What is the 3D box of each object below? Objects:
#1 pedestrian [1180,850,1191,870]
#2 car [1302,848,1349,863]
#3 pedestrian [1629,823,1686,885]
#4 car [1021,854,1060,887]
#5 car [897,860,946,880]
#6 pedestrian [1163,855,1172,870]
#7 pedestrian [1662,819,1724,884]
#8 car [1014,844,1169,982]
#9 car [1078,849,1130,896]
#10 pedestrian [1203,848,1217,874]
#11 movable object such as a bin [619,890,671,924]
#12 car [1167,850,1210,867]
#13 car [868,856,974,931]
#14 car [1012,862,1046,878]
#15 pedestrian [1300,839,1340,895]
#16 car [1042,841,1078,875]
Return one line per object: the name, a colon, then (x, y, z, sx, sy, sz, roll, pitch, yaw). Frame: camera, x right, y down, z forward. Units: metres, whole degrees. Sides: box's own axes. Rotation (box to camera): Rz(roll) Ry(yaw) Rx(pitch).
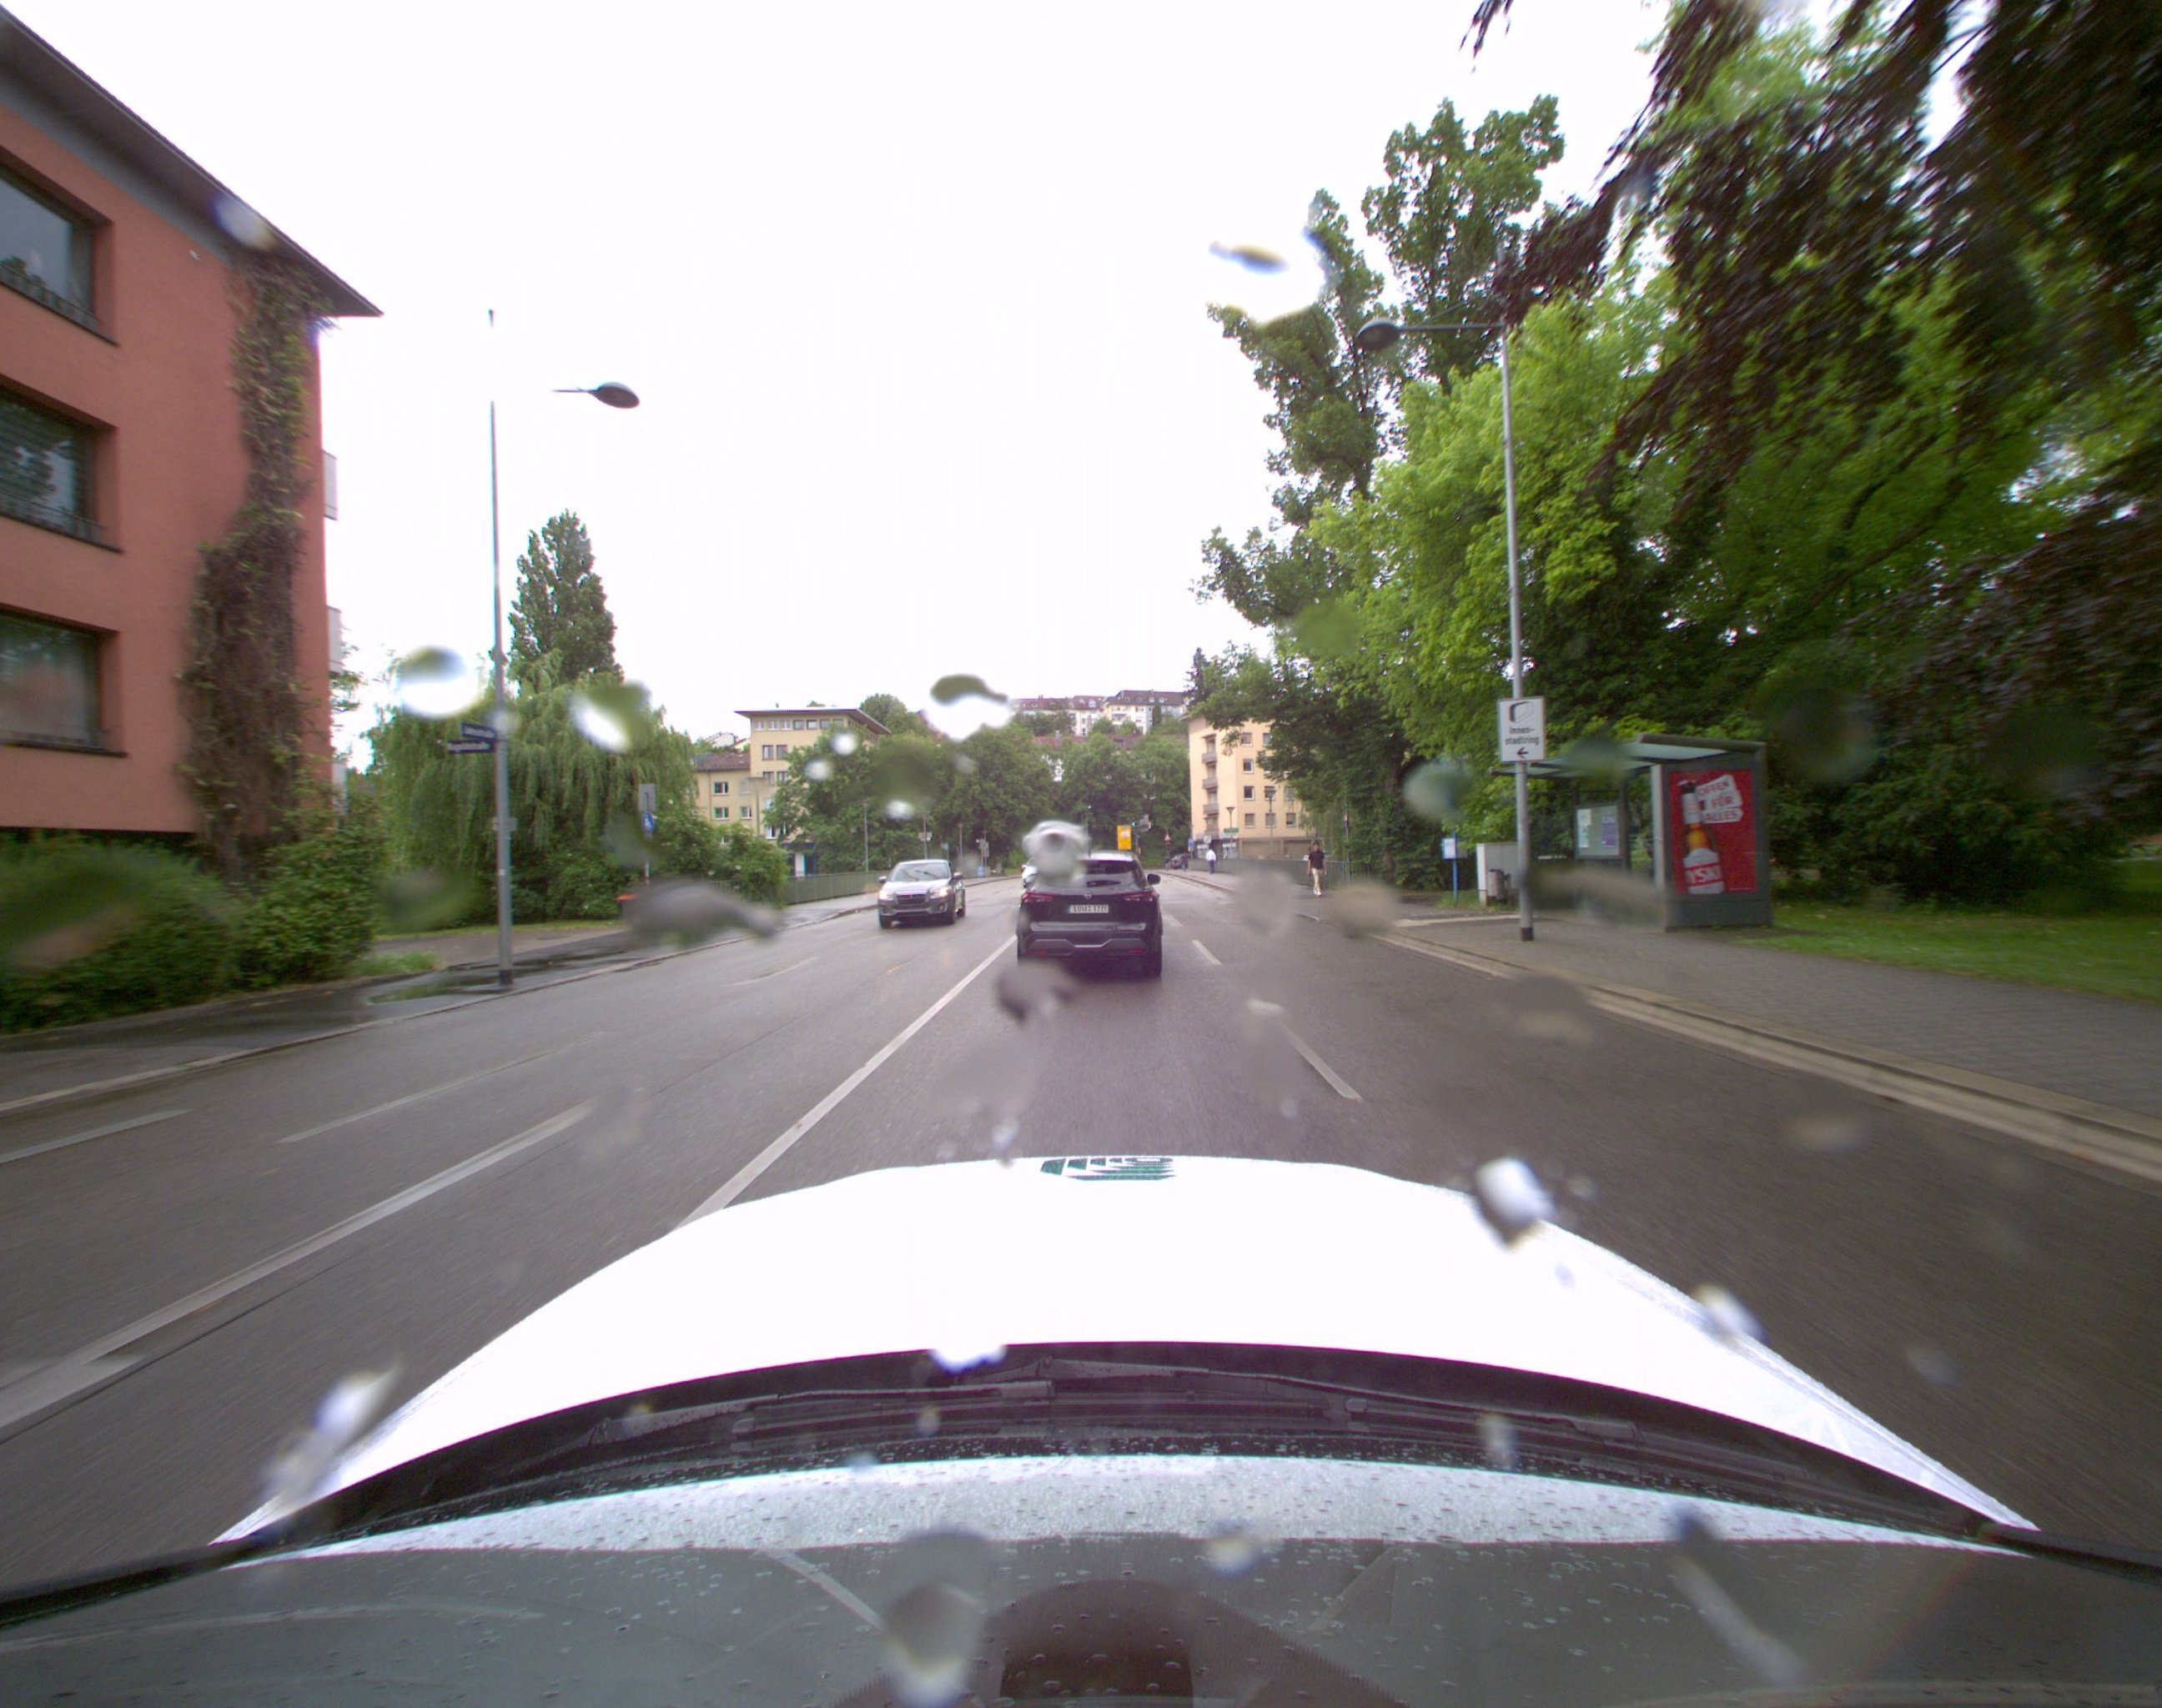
pedestrian: (9.062, 0.513, 70.607, 0.758, 1.677, 0.781, -4, 0, 2)
car: (25.638, 0.120, 85.570, 4.447, 1.376, 1.808, -2, 2, -15)
pedestrian: (16.786, -0.005, 23.726, 1.055, 1.752, 0.781, -2, -1, -4)
car: (-2.059, 0.809, 42.067, 1.776, 1.474, 4.165, -3, 0, -1)
car: (-16.347, 1.581, 83.655, 4.738, 1.854, 1.995, -1, 1, -7)
pedestrian: (9.334, 0.897, 88.106, 0.859, 1.619, 0.840, -3, -1, 2)
pedestrian: (16.972, -0.062, 22.599, 1.055, 1.752, 0.781, -2, -1, -4)
car: (0.184, 0.695, 11.598, 1.804, 1.603, 4.002, -1, 0, 2)
car: (0.872, 0.646, 30.415, 1.804, 1.603, 4.002, 0, 0, 2)
pedestrian: (8.741, 0.467, 55.108, 0.777, 1.752, 1.061, -2, -1, 1)
movable object such as a bin: (-12.215, 1.475, 22.851, 0.962, 0.877, 0.833, -2, -1, 1)
car: (11.998, 0.462, 90.752, 4.387, 1.649, 1.868, -3, -1, -24)
car: (-3.938, 0.902, 20.698, 1.807, 1.579, 4.230, -3, 0, -1)
car: (-6.320, 1.982, 98.674, 1.905, 1.735, 4.318, -2, 0, -41)
pedestrian: (7.583, 0.408, 25.934, 0.844, 1.676, 1.168, -4, -1, 1)
car: (-1.505, 0.237, 61.358, 2.281, 2.308, 6.511, -3, 0, 1)
